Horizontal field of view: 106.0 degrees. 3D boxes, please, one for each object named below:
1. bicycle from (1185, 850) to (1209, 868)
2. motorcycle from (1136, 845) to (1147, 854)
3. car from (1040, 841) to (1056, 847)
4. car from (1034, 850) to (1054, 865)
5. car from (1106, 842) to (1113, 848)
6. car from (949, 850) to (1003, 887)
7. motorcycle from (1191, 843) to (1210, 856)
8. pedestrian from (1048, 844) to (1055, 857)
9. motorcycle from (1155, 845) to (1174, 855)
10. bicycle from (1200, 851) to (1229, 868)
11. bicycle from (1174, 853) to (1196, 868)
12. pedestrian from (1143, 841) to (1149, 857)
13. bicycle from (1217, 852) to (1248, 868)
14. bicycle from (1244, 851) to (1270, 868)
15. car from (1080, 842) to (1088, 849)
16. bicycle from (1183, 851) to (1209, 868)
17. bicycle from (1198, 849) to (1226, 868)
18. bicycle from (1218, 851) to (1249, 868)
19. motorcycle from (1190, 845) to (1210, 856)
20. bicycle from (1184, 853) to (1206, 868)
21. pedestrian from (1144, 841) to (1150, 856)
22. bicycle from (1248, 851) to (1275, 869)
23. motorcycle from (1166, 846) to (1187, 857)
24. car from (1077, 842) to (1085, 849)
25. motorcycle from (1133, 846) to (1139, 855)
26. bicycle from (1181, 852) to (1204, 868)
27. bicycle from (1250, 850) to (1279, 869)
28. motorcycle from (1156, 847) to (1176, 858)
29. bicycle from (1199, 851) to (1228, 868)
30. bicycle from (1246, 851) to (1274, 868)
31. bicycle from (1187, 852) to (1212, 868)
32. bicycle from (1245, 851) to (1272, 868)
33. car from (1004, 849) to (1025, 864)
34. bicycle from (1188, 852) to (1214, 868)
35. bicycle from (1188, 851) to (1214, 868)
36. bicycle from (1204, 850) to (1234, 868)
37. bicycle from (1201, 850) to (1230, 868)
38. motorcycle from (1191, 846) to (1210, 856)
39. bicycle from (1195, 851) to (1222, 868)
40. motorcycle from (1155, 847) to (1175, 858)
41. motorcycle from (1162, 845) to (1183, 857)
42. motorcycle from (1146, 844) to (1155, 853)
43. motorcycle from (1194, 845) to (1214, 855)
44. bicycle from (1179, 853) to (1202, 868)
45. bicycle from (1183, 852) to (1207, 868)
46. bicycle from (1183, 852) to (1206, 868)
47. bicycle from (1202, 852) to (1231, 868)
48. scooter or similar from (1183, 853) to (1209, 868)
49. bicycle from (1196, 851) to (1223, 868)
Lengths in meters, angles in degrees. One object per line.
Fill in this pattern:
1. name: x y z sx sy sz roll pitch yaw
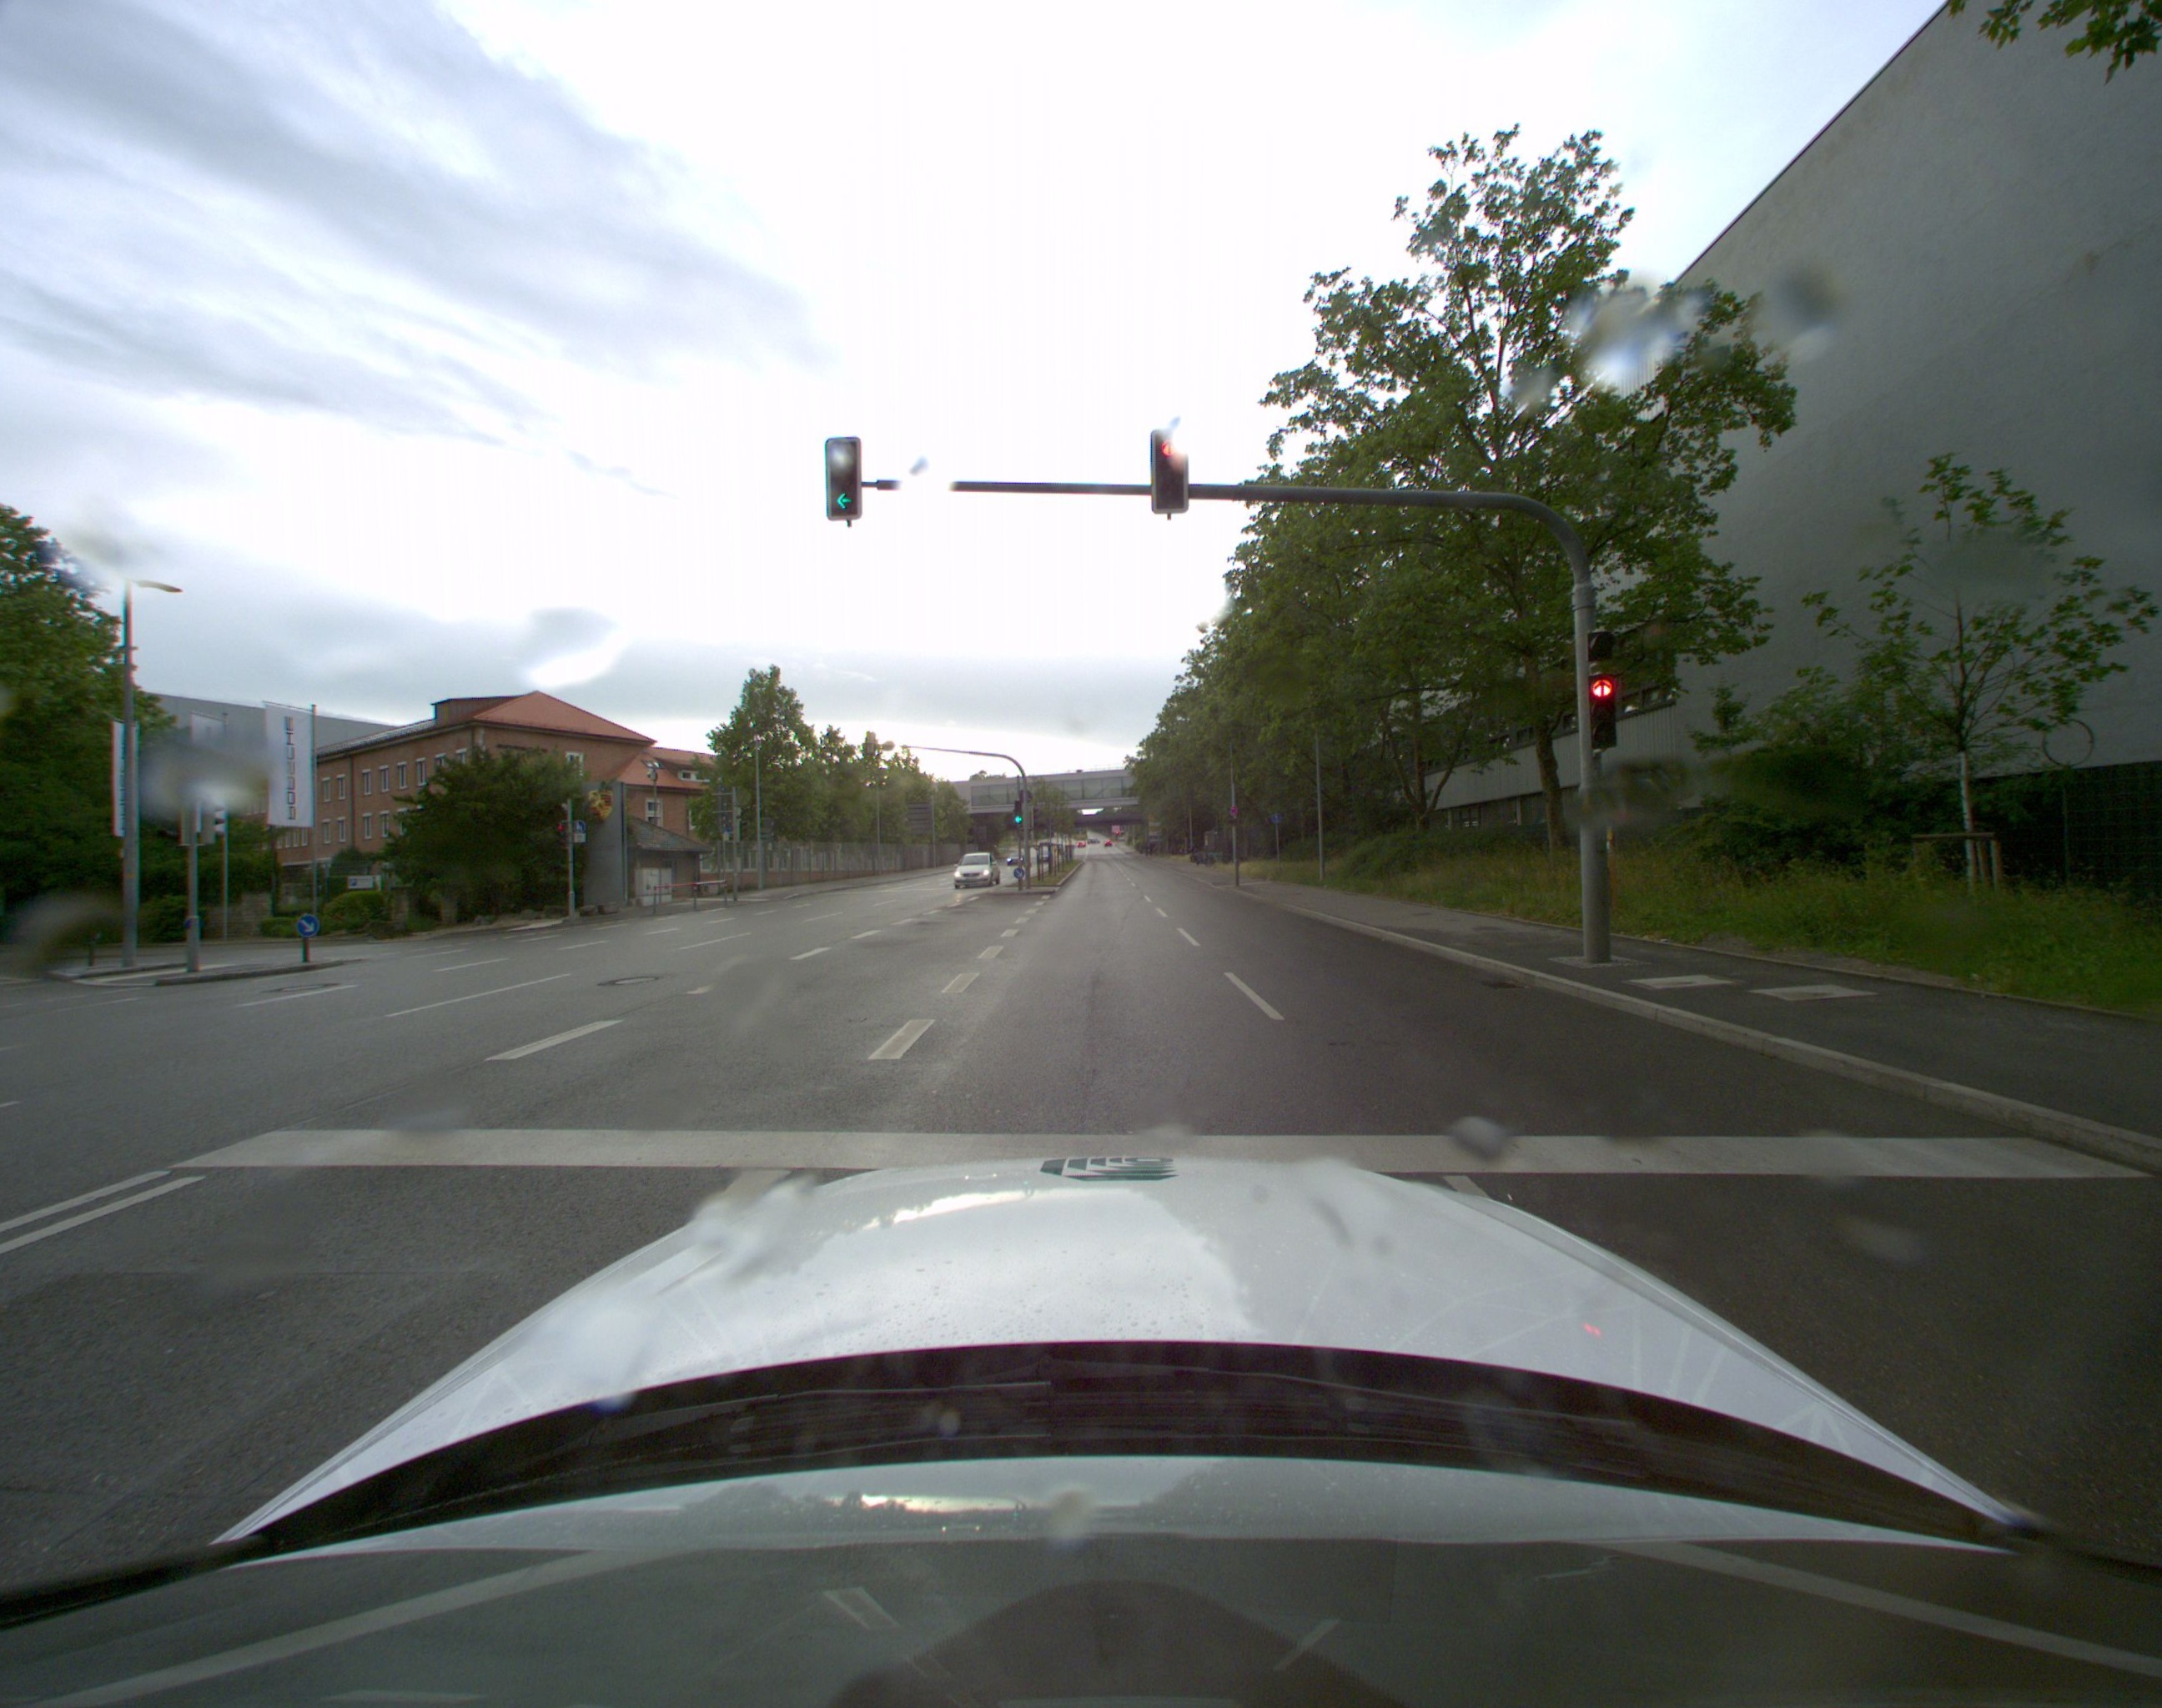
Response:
1. bicycle: 9.631 0.425 67.689 1.982 1.430 0.723 0 -1 2
2. motorcycle: 9.336 -0.741 125.581 0.792 1.311 2.363 -3 0 -16
3. car: -9.541 -2.845 236.609 4.496 1.762 1.904 0 -1 0
4. car: -4.242 0.400 94.167 1.870 1.624 3.780 -2 0 2
5. car: 7.158 -2.287 203.243 1.868 1.497 4.070 0 -1 2
6. car: -4.981 0.655 39.103 1.870 1.624 3.780 -2 0 2
7. motorcycle: 15.725 -0.588 107.066 2.354 1.476 0.724 -3 0 9
8. pedestrian: -4.771 -0.558 131.816 0.865 2.004 0.859 -3 0 18
9. motorcycle: 10.824 -0.567 106.031 2.354 1.202 0.724 -3 0 9
10. bicycle: 9.653 0.386 58.846 1.982 1.242 0.541 0 -1 2
11. bicycle: 9.406 0.565 73.705 1.955 1.328 0.654 0 -1 2
12. pedestrian: 8.388 -0.673 105.245 0.619 2.013 0.606 -3 0 2
13. bicycle: 10.113 0.398 54.535 1.982 1.094 0.541 0 -1 2
14. bicycle: 13.823 0.463 63.935 1.982 1.328 0.576 0 -1 2
15. car: 0.809 -2.314 213.152 1.877 1.762 3.970 0 -1 2
16. bicycle: 9.307 0.460 66.018 1.982 1.328 0.576 0 -1 2
17. bicycle: 9.699 0.341 60.276 1.982 1.340 0.541 0 -1 2
18. bicycle: 10.094 0.389 53.967 1.982 1.094 0.541 0 -1 2
19. motorcycle: 14.642 -0.423 100.299 2.354 1.202 0.724 -3 0 9
20. bicycle: 10.631 0.608 75.984 1.955 1.328 0.654 0 -1 2
21. pedestrian: 8.581 -0.717 105.965 0.619 2.013 0.606 -3 0 2
22. bicycle: 13.734 0.432 61.969 1.982 1.328 0.576 0 -1 2
23. motorcycle: 11.398 -0.342 96.997 2.354 1.202 0.724 -3 0 9
24. car: -0.015 -2.163 207.212 1.986 1.762 4.002 0 -1 2
25. motorcycle: 9.733 -0.594 144.845 0.787 1.533 2.376 -3 0 0
26. bicycle: 9.773 0.529 71.179 1.955 1.328 0.654 0 -1 2
27. bicycle: 13.495 0.399 59.881 1.982 1.328 0.576 0 -1 2
28. motorcycle: 10.620 -0.177 101.680 2.354 1.202 0.724 -3 0 9
29. bicycle: 9.686 0.396 59.548 1.982 1.242 0.541 0 -1 2
30. bicycle: 13.756 0.443 62.634 1.982 1.328 0.576 0 -1 2
31. bicycle: 9.959 0.491 68.535 1.982 1.328 0.576 0 -1 2
32. bicycle: 13.792 0.453 63.311 1.982 1.328 0.576 0 -1 2
33. car: -7.457 0.254 91.944 1.870 1.624 3.780 -2 0 2
34. bicycle: 9.301 0.450 63.302 1.982 1.242 0.541 0 -1 2
35. bicycle: 9.602 0.450 65.201 1.982 1.328 0.576 0 -1 2
36. bicycle: 9.481 0.354 56.011 1.982 1.216 0.541 0 -1 2
37. bicycle: 9.618 0.366 58.199 1.982 1.233 0.541 0 -1 2
38. motorcycle: 14.875 -0.383 101.392 2.354 1.202 0.724 -3 0 9
39. bicycle: 9.653 0.432 61.918 1.982 1.242 0.541 0 -1 2
40. motorcycle: 10.325 -0.227 99.914 2.354 1.202 0.724 -3 0 9
41. motorcycle: 10.634 -0.359 94.861 2.354 1.202 0.724 -3 0 9
42. motorcycle: 10.402 -0.847 122.173 0.789 1.311 2.371 -3 0 -7
43. motorcycle: 14.983 -0.480 98.936 2.354 1.202 0.724 -3 0 9
44. bicycle: 10.014 0.581 74.495 1.955 1.328 0.654 0 -1 2
45. bicycle: 9.656 0.511 69.254 1.982 1.328 0.576 0 -1 2
46. bicycle: 9.836 0.519 70.487 1.953 1.328 0.576 0 -1 2
47. bicycle: 9.582 0.429 57.616 1.982 1.094 0.541 0 -1 2
48. scooter or similar: 9.031 0.497 64.100 1.982 1.138 0.541 0 -1 2
49. bicycle: 9.626 0.417 60.970 1.982 1.242 0.541 0 -1 2
